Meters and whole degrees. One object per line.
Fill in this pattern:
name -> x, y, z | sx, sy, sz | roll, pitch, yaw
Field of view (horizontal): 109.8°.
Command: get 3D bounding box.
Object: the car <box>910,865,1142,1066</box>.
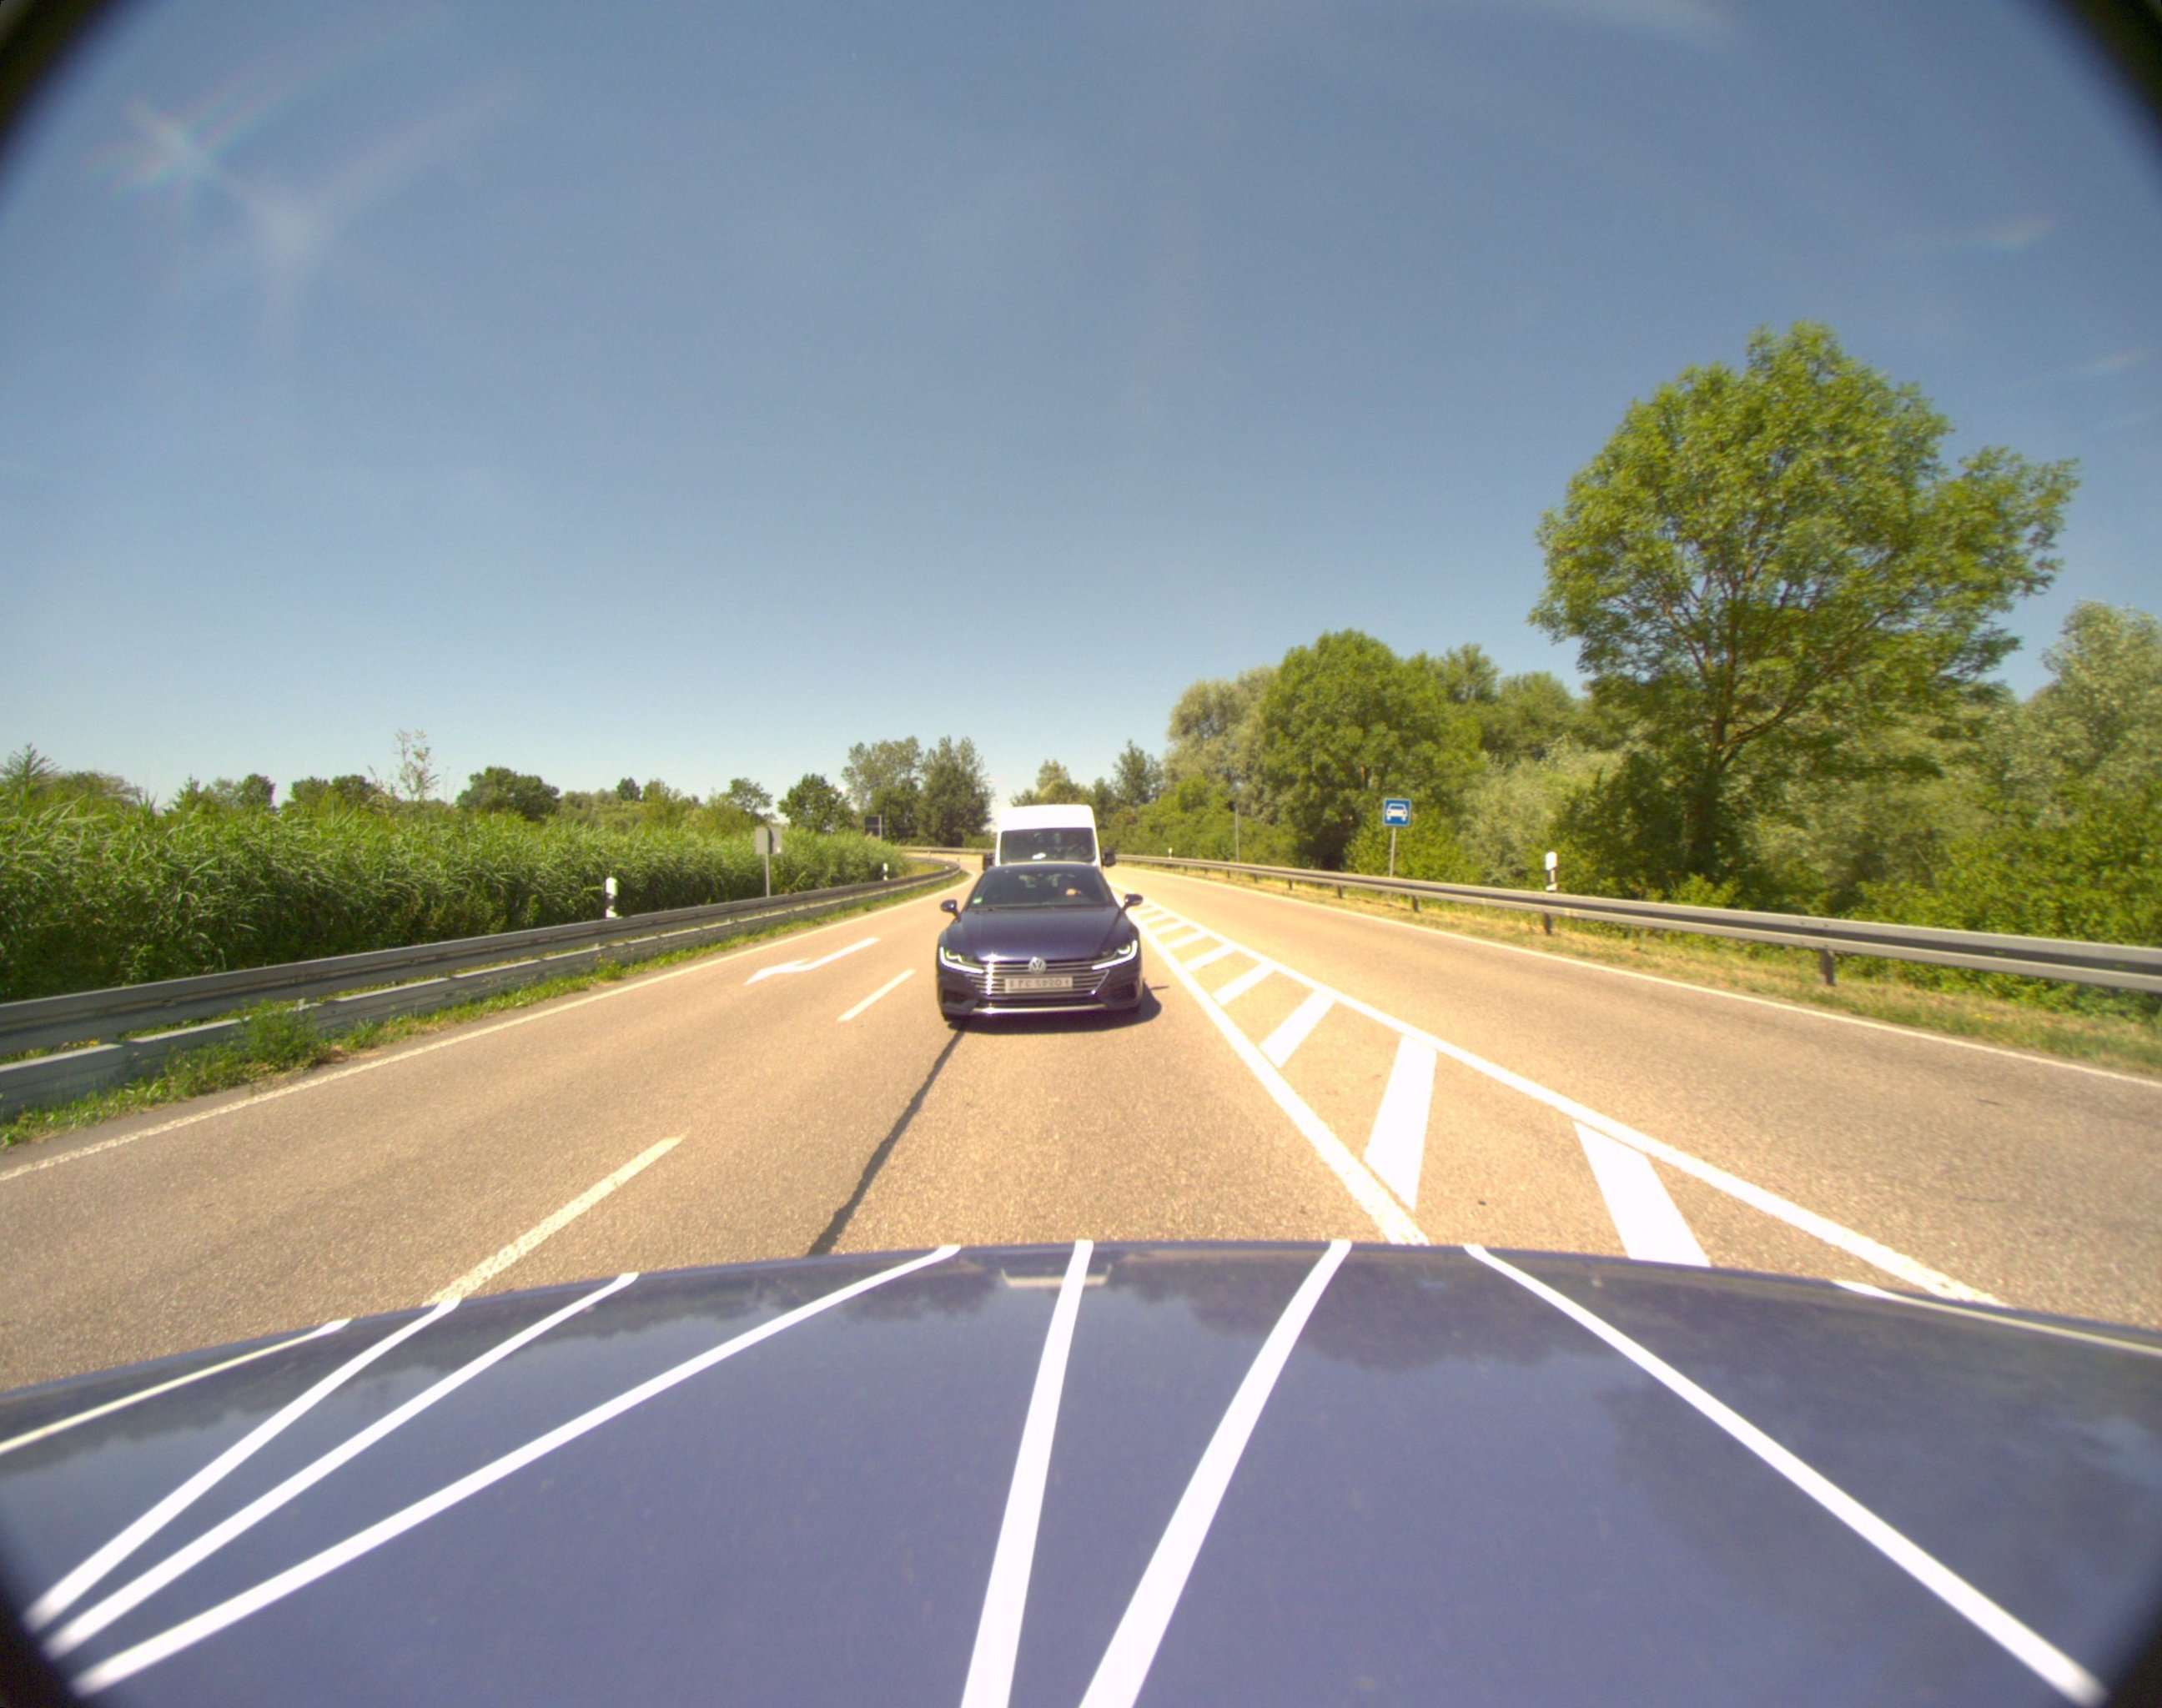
car -> -0.421, 0.902, 7.919 | 1.761, 1.401, 3.999 | -2, 1, 0

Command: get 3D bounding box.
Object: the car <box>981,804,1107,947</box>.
car -> -0.621, 0.321, 15.821 | 2.059, 2.376, 5.825 | -2, 1, 0

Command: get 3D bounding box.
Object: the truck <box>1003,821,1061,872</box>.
truck -> -3.474, -0.501, 51.705 | 2.578, 3.052, 9.069 | -2, 1, -12
